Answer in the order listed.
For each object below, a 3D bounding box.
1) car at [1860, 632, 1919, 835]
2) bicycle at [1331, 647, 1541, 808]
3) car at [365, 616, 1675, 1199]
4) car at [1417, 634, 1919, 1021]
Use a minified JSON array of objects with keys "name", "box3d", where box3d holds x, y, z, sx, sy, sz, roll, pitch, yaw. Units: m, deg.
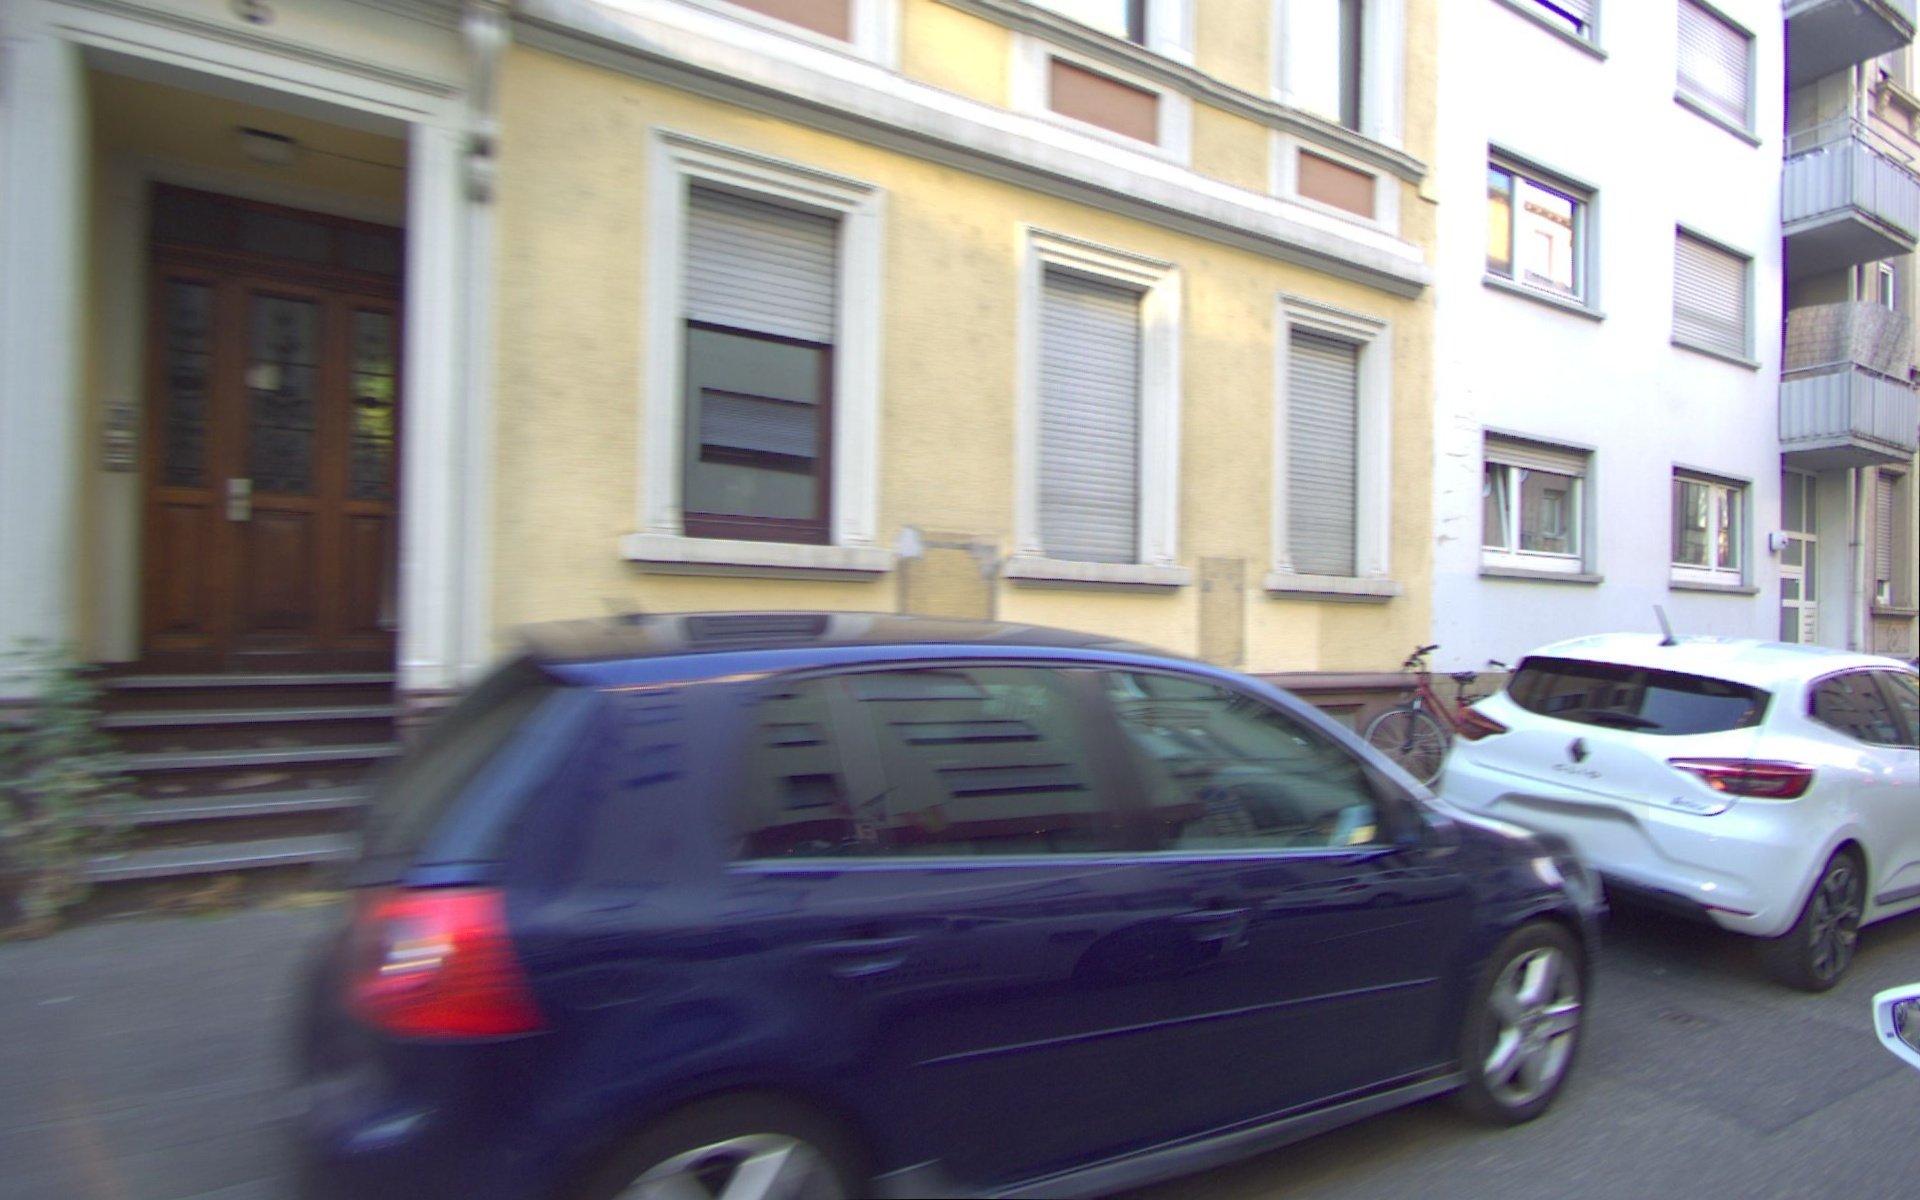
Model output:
[{"name":"car","box3d":[9.601,1.093,8.603,4.253,1.591,1.607,1,-1,-30]},{"name":"bicycle","box3d":[4.022,1.008,8.414,2.099,1.216,0.520,2,-3,-31]},{"name":"car","box3d":[0.349,0.839,3.165,3.785,1.529,1.720,1,-1,-30]},{"name":"car","box3d":[4.436,0.956,5.598,3.710,1.492,1.622,1,-1,-30]}]
